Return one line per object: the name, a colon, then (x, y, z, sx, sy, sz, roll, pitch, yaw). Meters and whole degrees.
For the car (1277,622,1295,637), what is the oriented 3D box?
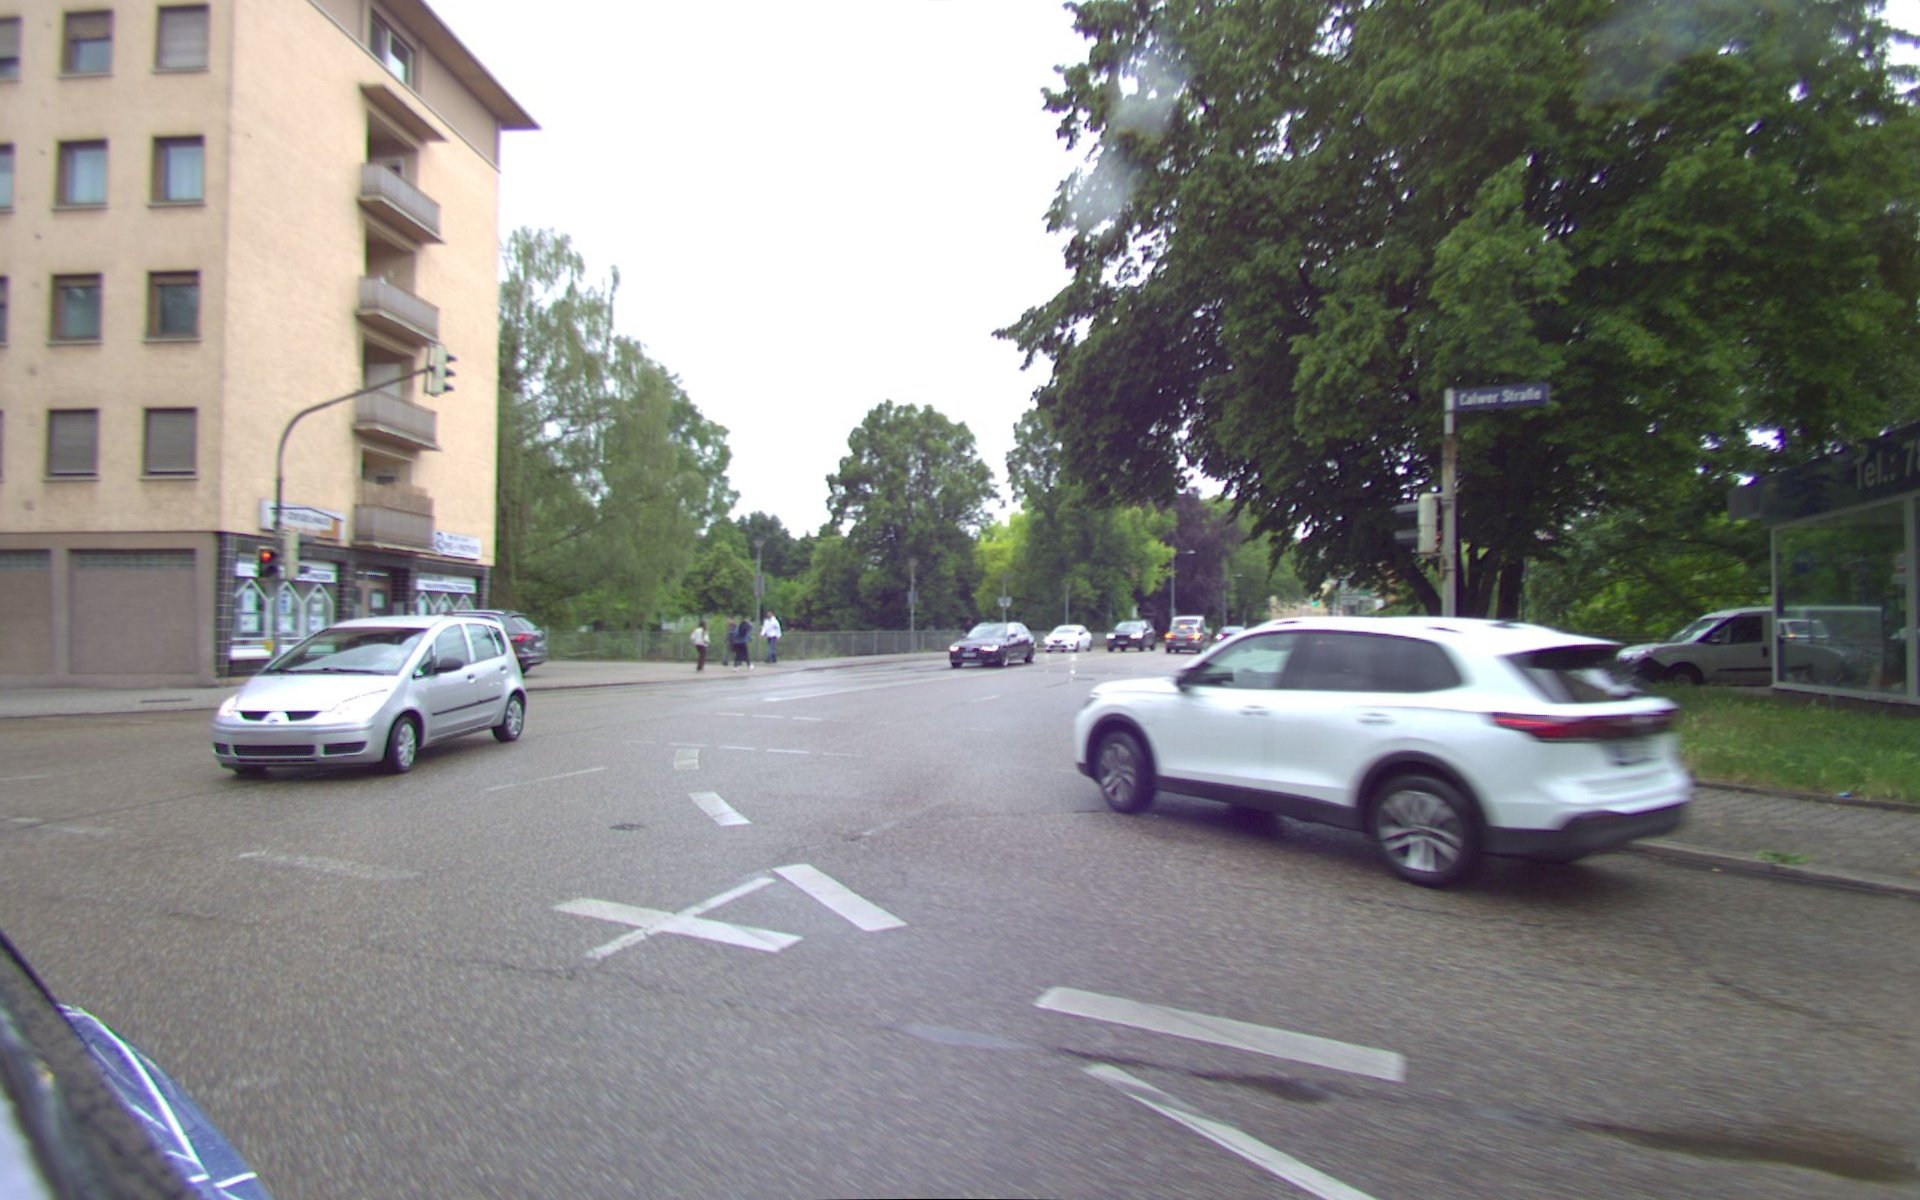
car: (35.860, 3.199, 111.306, 1.746, 1.618, 3.974, -1, -2, 19)

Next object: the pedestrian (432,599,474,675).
pedestrian: (-11.294, 0.825, 22.554, 0.615, 1.651, 0.577, -1, -2, 27)

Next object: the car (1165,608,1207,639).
car: (15.549, 1.581, 69.612, 2.203, 2.016, 4.344, -1, -1, 21)

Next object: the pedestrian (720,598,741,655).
pedestrian: (-7.458, 0.857, 32.863, 0.550, 1.817, 0.478, 1, -2, -28)

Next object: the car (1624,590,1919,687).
car: (16.752, 0.780, 20.832, 4.702, 1.844, 1.972, -1, -2, 16)

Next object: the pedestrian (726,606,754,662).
pedestrian: (-6.696, 1.028, 30.748, 0.690, 1.659, 0.662, 1, -2, -26)

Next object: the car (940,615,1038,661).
car: (1.077, 1.279, 34.843, 1.986, 1.474, 4.474, -1, -1, 21)

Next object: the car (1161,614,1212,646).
car: (11.152, 1.466, 49.674, 1.747, 1.498, 3.975, -1, -2, 23)

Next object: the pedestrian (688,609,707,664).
pedestrian: (-7.656, 1.057, 29.531, 0.455, 1.595, 0.442, 0, -1, -4)

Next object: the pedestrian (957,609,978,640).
pedestrian: (0.372, 1.212, 49.863, 0.786, 1.485, 0.700, -1, -2, 25)

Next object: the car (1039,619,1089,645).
car: (5.585, 1.685, 53.875, 1.642, 1.319, 3.970, -1, -1, 22)

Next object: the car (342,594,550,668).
car: (-12.597, 0.762, 25.018, 4.218, 1.660, 1.761, 1, -1, -4)

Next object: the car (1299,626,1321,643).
car: (31.224, 3.077, 90.267, 1.671, 1.517, 3.921, -1, -2, 21)

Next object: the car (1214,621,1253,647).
car: (17.393, 2.162, 64.140, 1.820, 1.601, 4.290, -1, -2, 23)

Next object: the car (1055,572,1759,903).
car: (2.868, 0.774, 7.532, 1.814, 1.684, 4.484, 1, -2, -36)

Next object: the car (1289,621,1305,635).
car: (40.421, 3.314, 121.435, 1.746, 1.618, 3.974, -1, -2, 19)

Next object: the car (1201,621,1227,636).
car: (22.638, 2.491, 90.059, 1.738, 1.319, 3.970, -1, -1, 22)

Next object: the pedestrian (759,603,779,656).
pedestrian: (-6.557, 1.016, 34.708, 0.501, 1.817, 0.498, 1, -2, -43)

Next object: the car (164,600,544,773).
car: (-6.289, 0.801, 11.115, 1.730, 1.530, 3.998, -1, -1, 1)

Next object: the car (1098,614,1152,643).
car: (8.767, 1.492, 53.448, 1.987, 1.448, 3.970, -1, -1, 22)

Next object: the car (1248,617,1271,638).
car: (25.816, 2.344, 87.172, 1.746, 1.725, 3.974, -1, -2, 19)
